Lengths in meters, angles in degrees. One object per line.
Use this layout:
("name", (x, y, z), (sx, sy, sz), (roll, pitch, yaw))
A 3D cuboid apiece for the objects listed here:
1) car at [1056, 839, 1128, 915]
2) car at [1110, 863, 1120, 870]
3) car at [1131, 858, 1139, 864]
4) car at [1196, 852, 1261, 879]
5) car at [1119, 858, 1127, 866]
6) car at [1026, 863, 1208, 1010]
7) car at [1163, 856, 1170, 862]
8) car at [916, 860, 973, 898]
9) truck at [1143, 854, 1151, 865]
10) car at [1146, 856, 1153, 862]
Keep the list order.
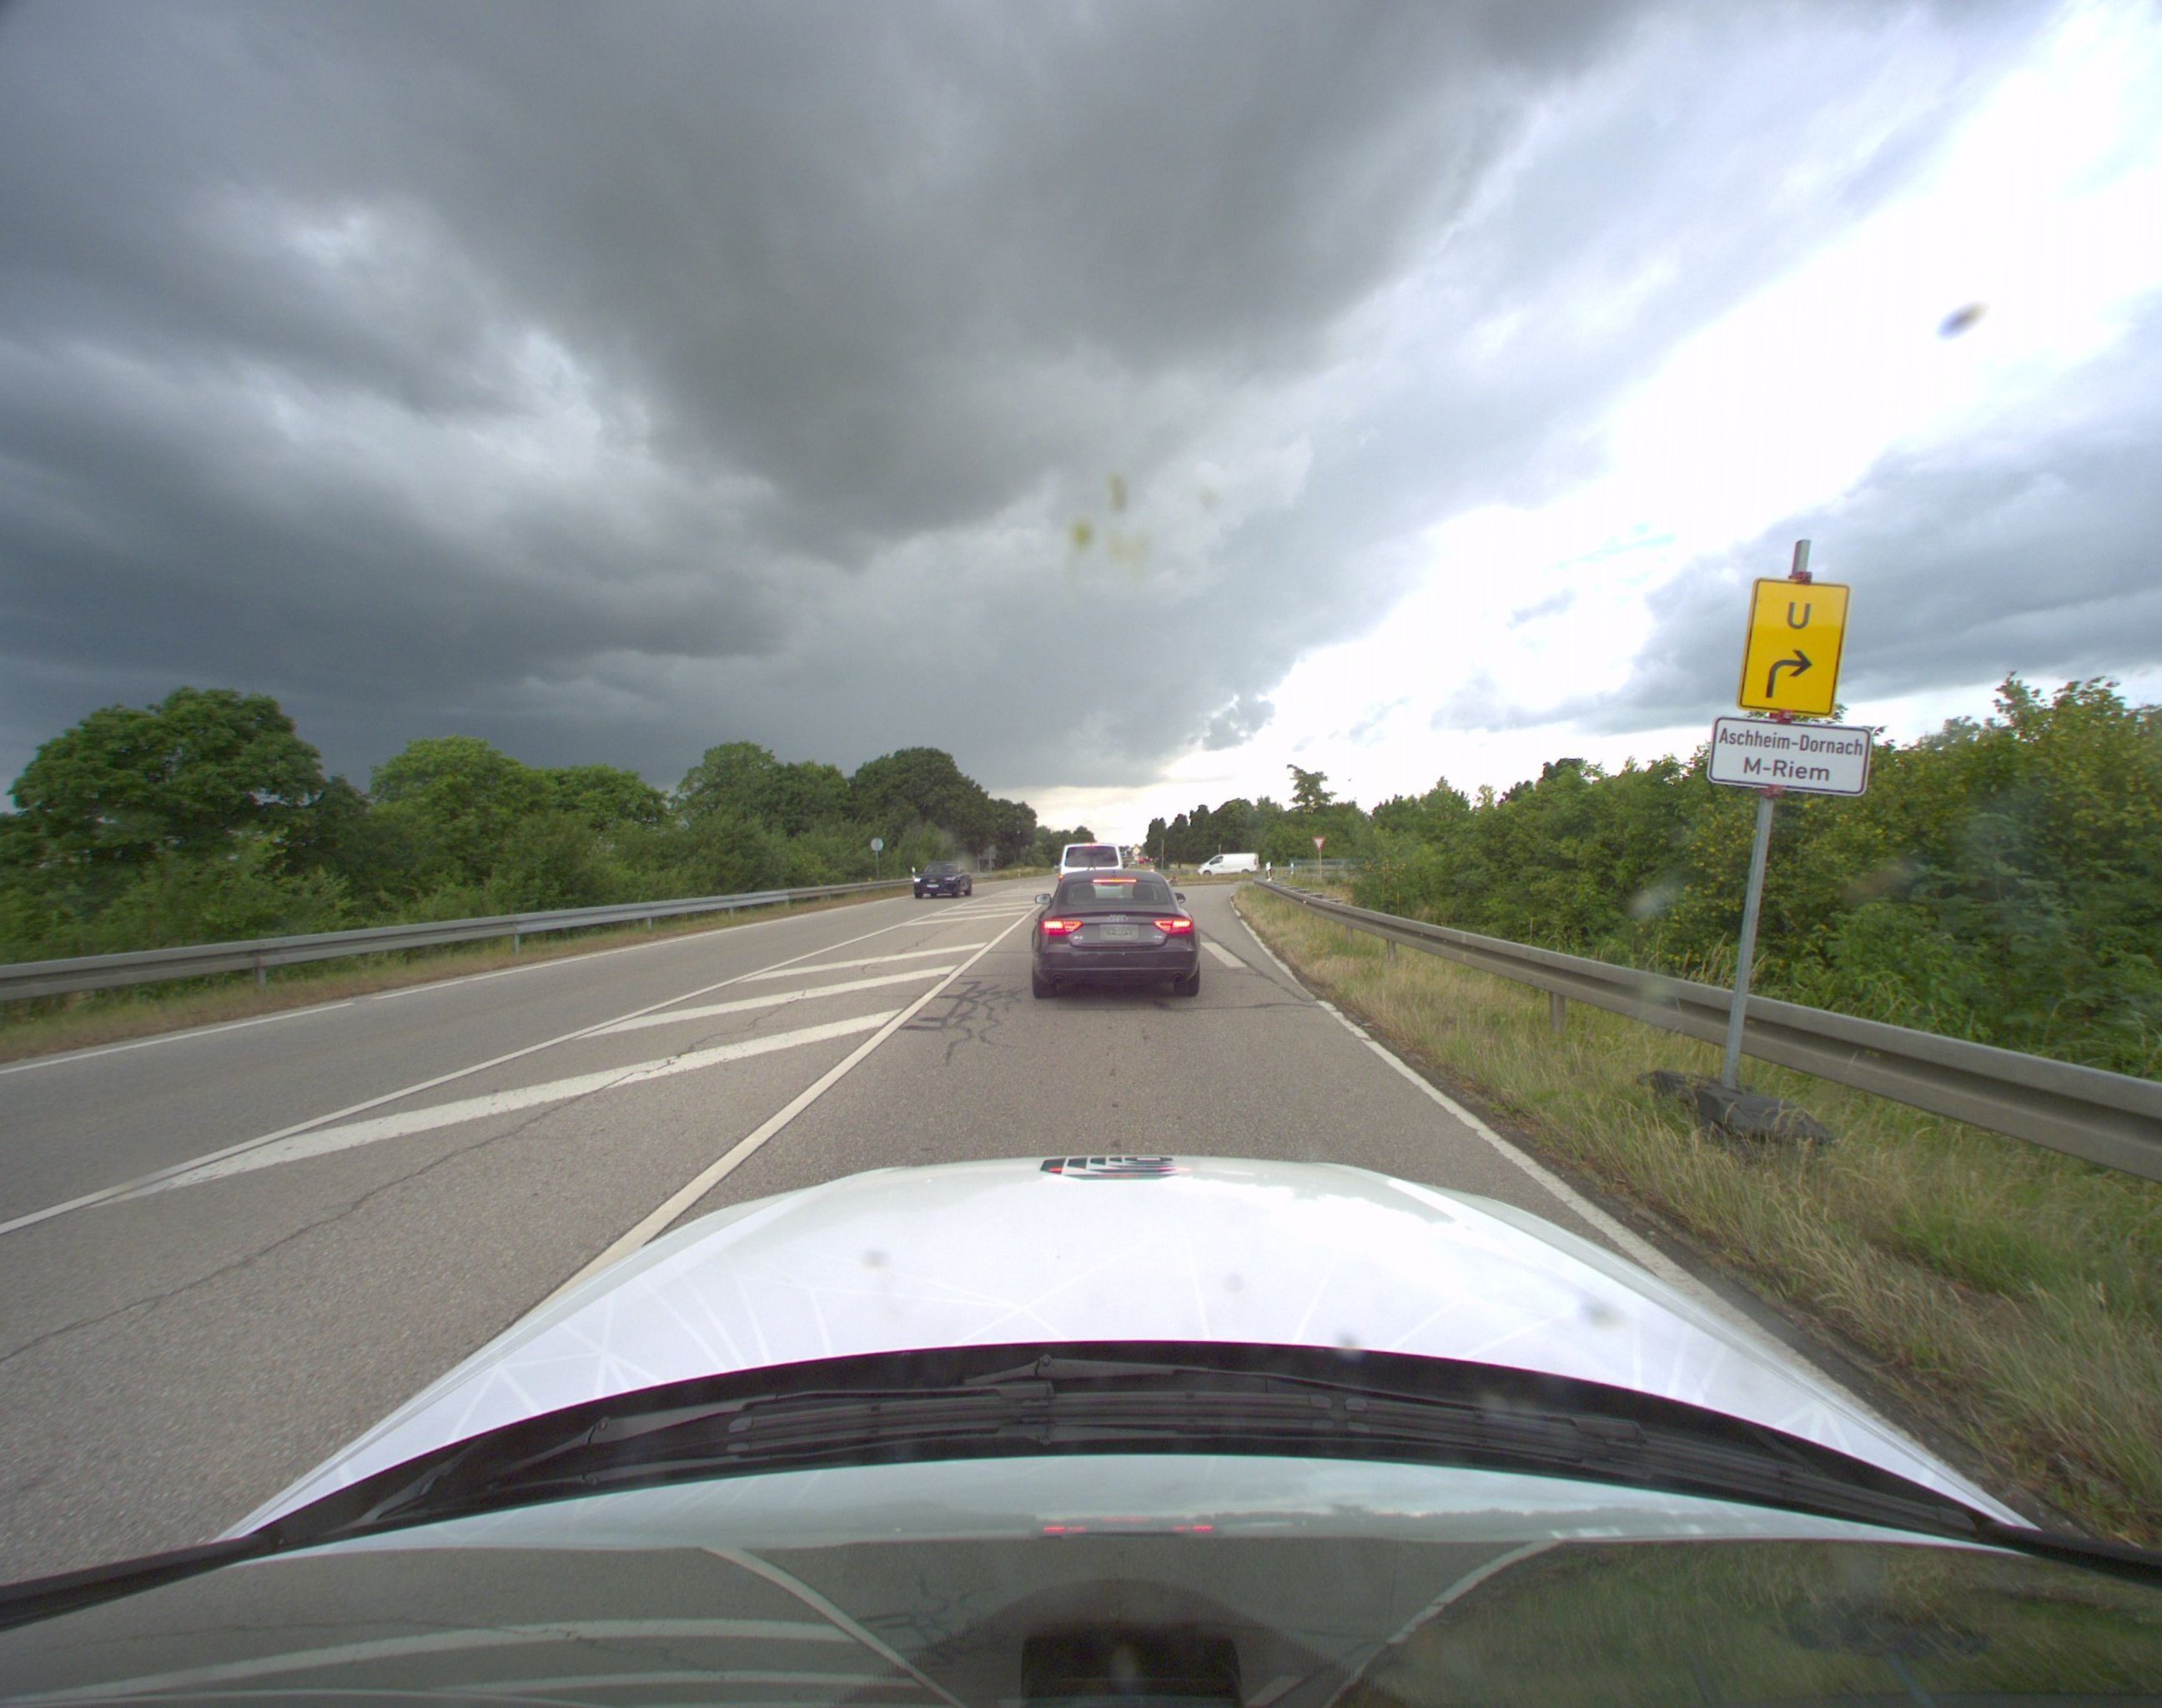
("car", (0.318, 0.617, 23.685), (1.904, 2.013, 4.000), (-1, 0, 0))
("car", (6.954, 2.588, 166.711), (1.514, 1.399, 3.191), (-1, -2, 9))
("car", (15.663, 2.047, 237.554), (2.198, 1.582, 4.379), (-1, 0, 0))
("car", (11.925, 0.916, 65.801), (4.820, 2.064, 2.098), (-1, 0, 19))
("car", (11.175, 2.213, 216.332), (1.985, 2.013, 4.003), (-1, 0, 3))
("car", (0.369, 0.830, 9.707), (1.774, 1.399, 3.336), (-1, 0, 0))
("car", (24.873, 1.459, 237.347), (1.866, 1.692, 4.007), (-1, 0, 7))
("car", (-5.892, 1.044, 35.576), (1.704, 1.518, 4.210), (-1, 0, 1))
("truck", (18.311, 1.497, 226.411), (1.985, 2.918, 5.799), (-1, 0, 4))
("car", (20.437, 1.495, 244.713), (1.985, 1.692, 4.004), (-1, 0, 3))
